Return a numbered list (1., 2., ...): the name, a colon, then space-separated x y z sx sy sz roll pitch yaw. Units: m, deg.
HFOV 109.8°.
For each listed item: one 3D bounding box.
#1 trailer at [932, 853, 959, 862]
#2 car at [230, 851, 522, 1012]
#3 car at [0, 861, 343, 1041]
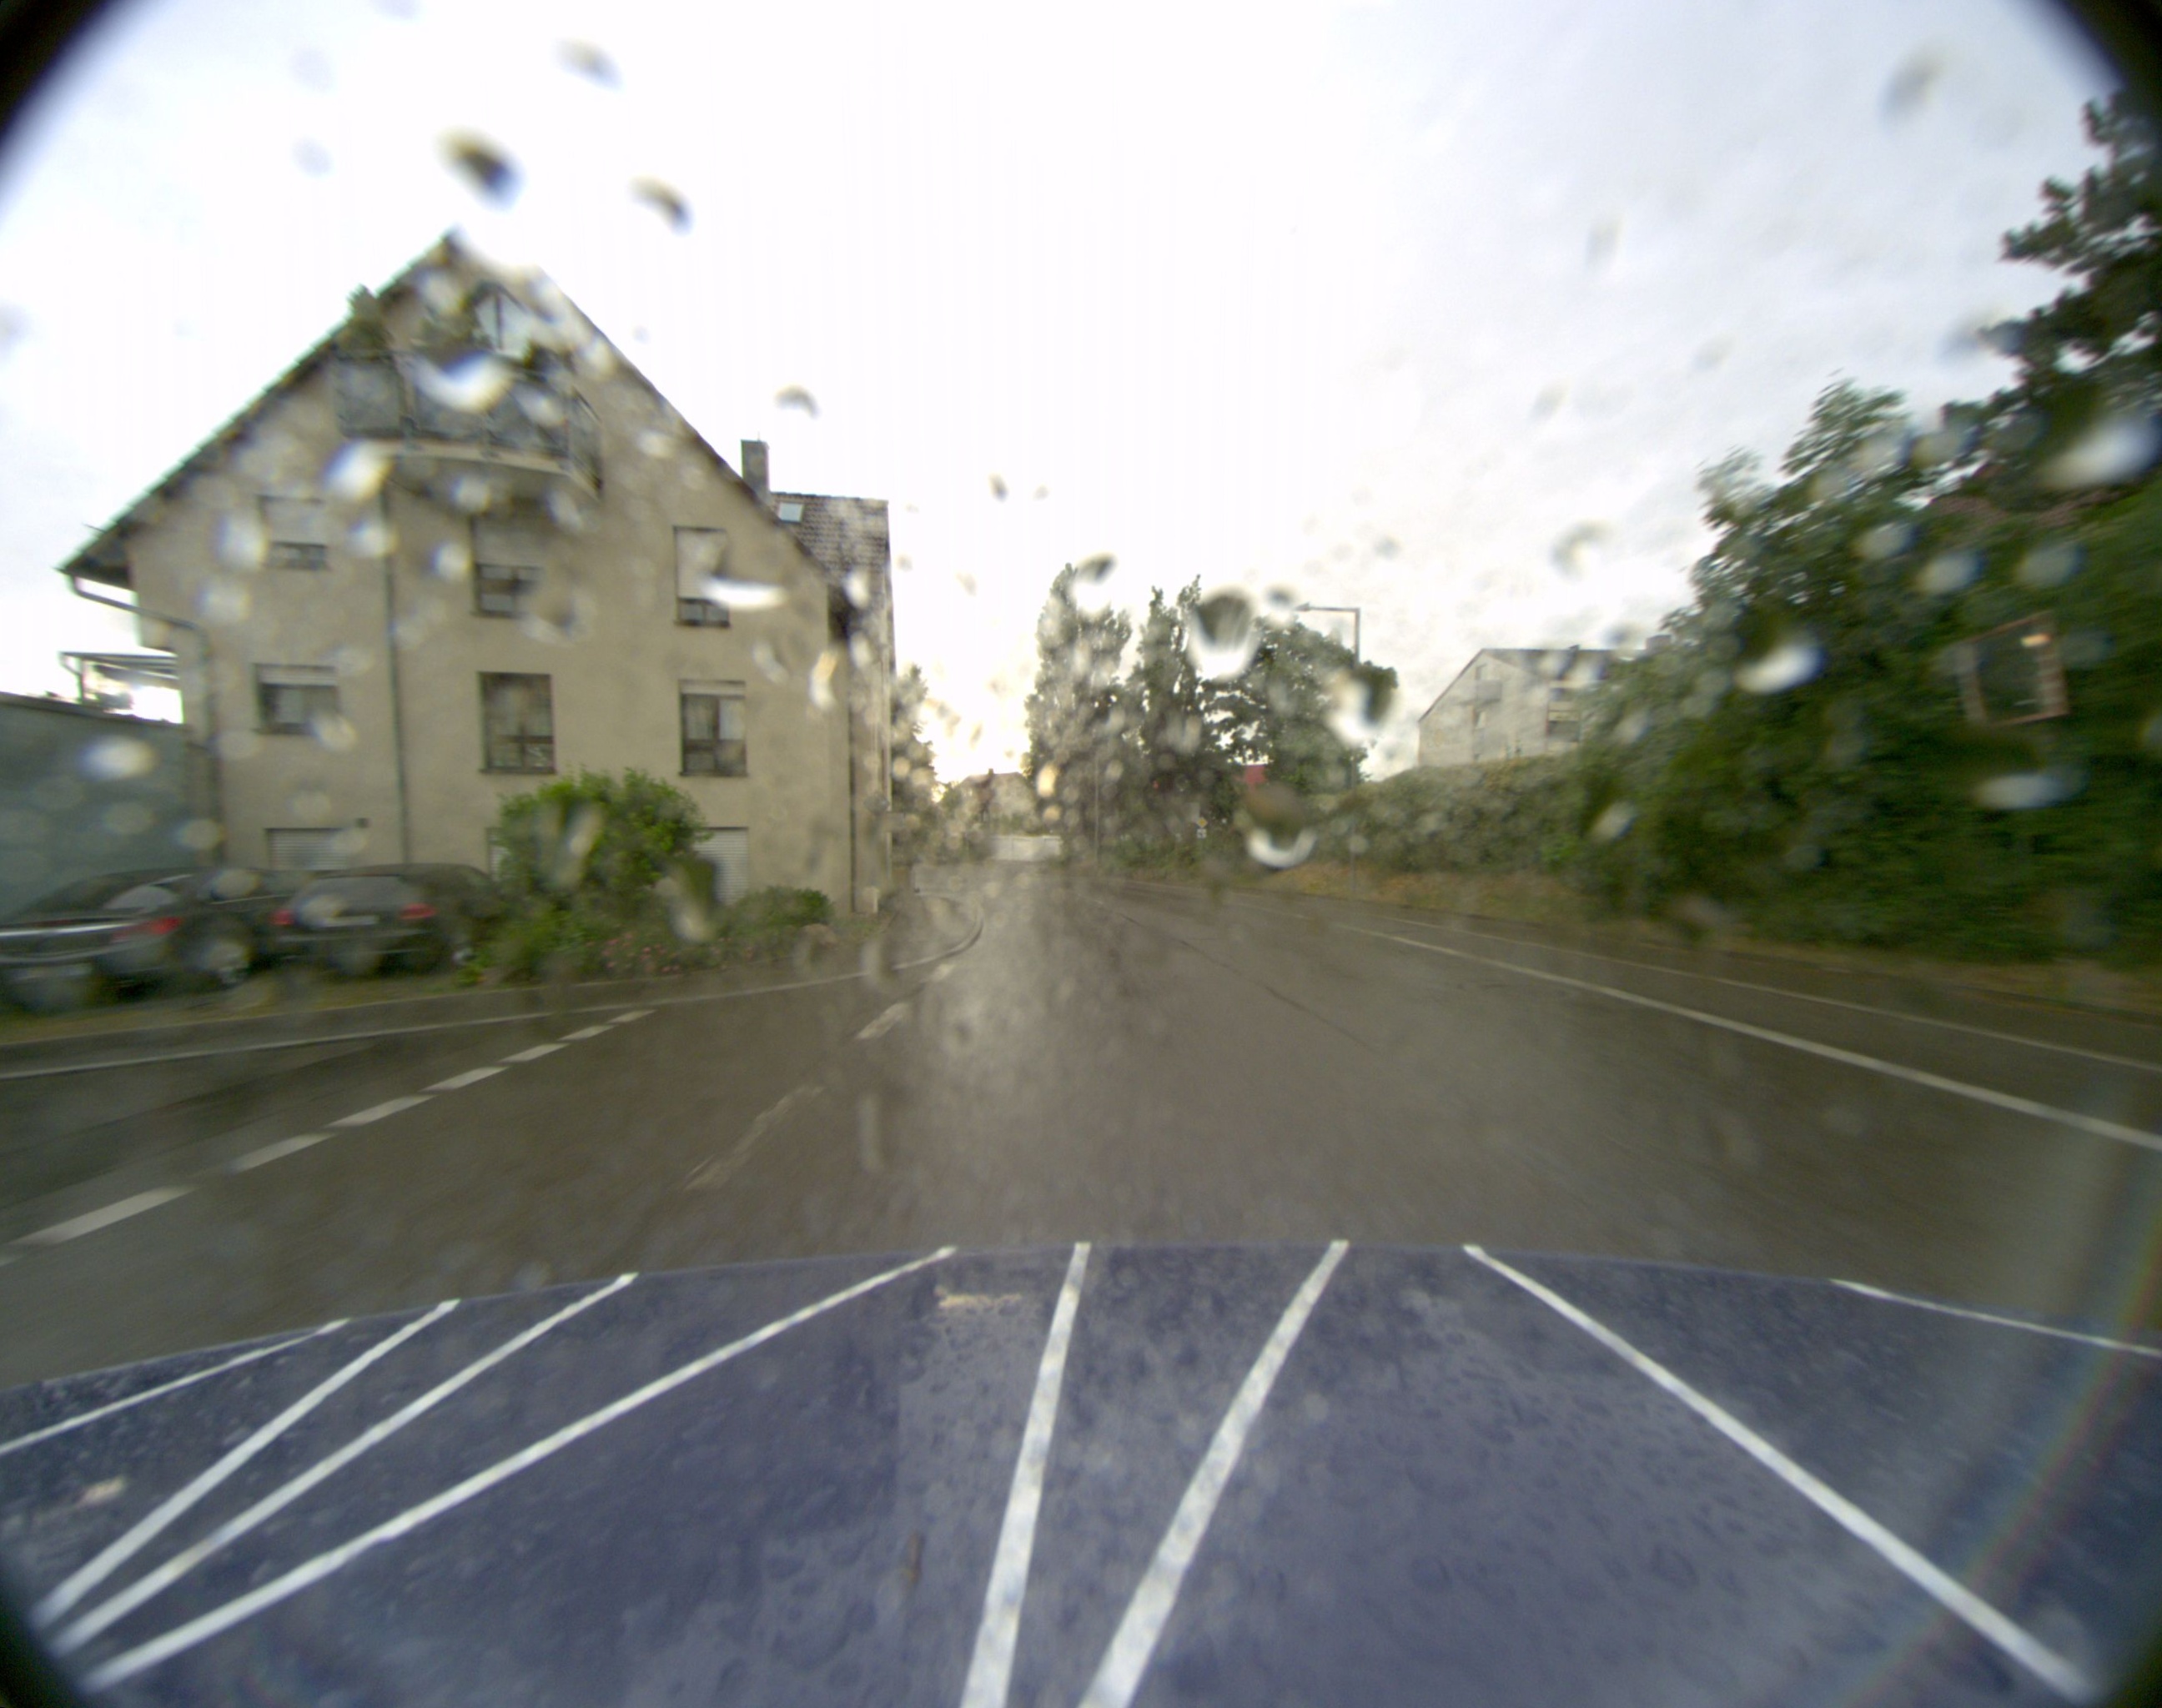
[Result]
1. trailer: -13.912 0.353 77.927 1.744 0.754 2.818 -3 1 -33
2. car: -9.432 0.869 10.609 1.726 1.401 3.758 -3 7 -23
3. car: -11.480 1.025 9.632 1.726 1.401 3.758 -3 7 -23
